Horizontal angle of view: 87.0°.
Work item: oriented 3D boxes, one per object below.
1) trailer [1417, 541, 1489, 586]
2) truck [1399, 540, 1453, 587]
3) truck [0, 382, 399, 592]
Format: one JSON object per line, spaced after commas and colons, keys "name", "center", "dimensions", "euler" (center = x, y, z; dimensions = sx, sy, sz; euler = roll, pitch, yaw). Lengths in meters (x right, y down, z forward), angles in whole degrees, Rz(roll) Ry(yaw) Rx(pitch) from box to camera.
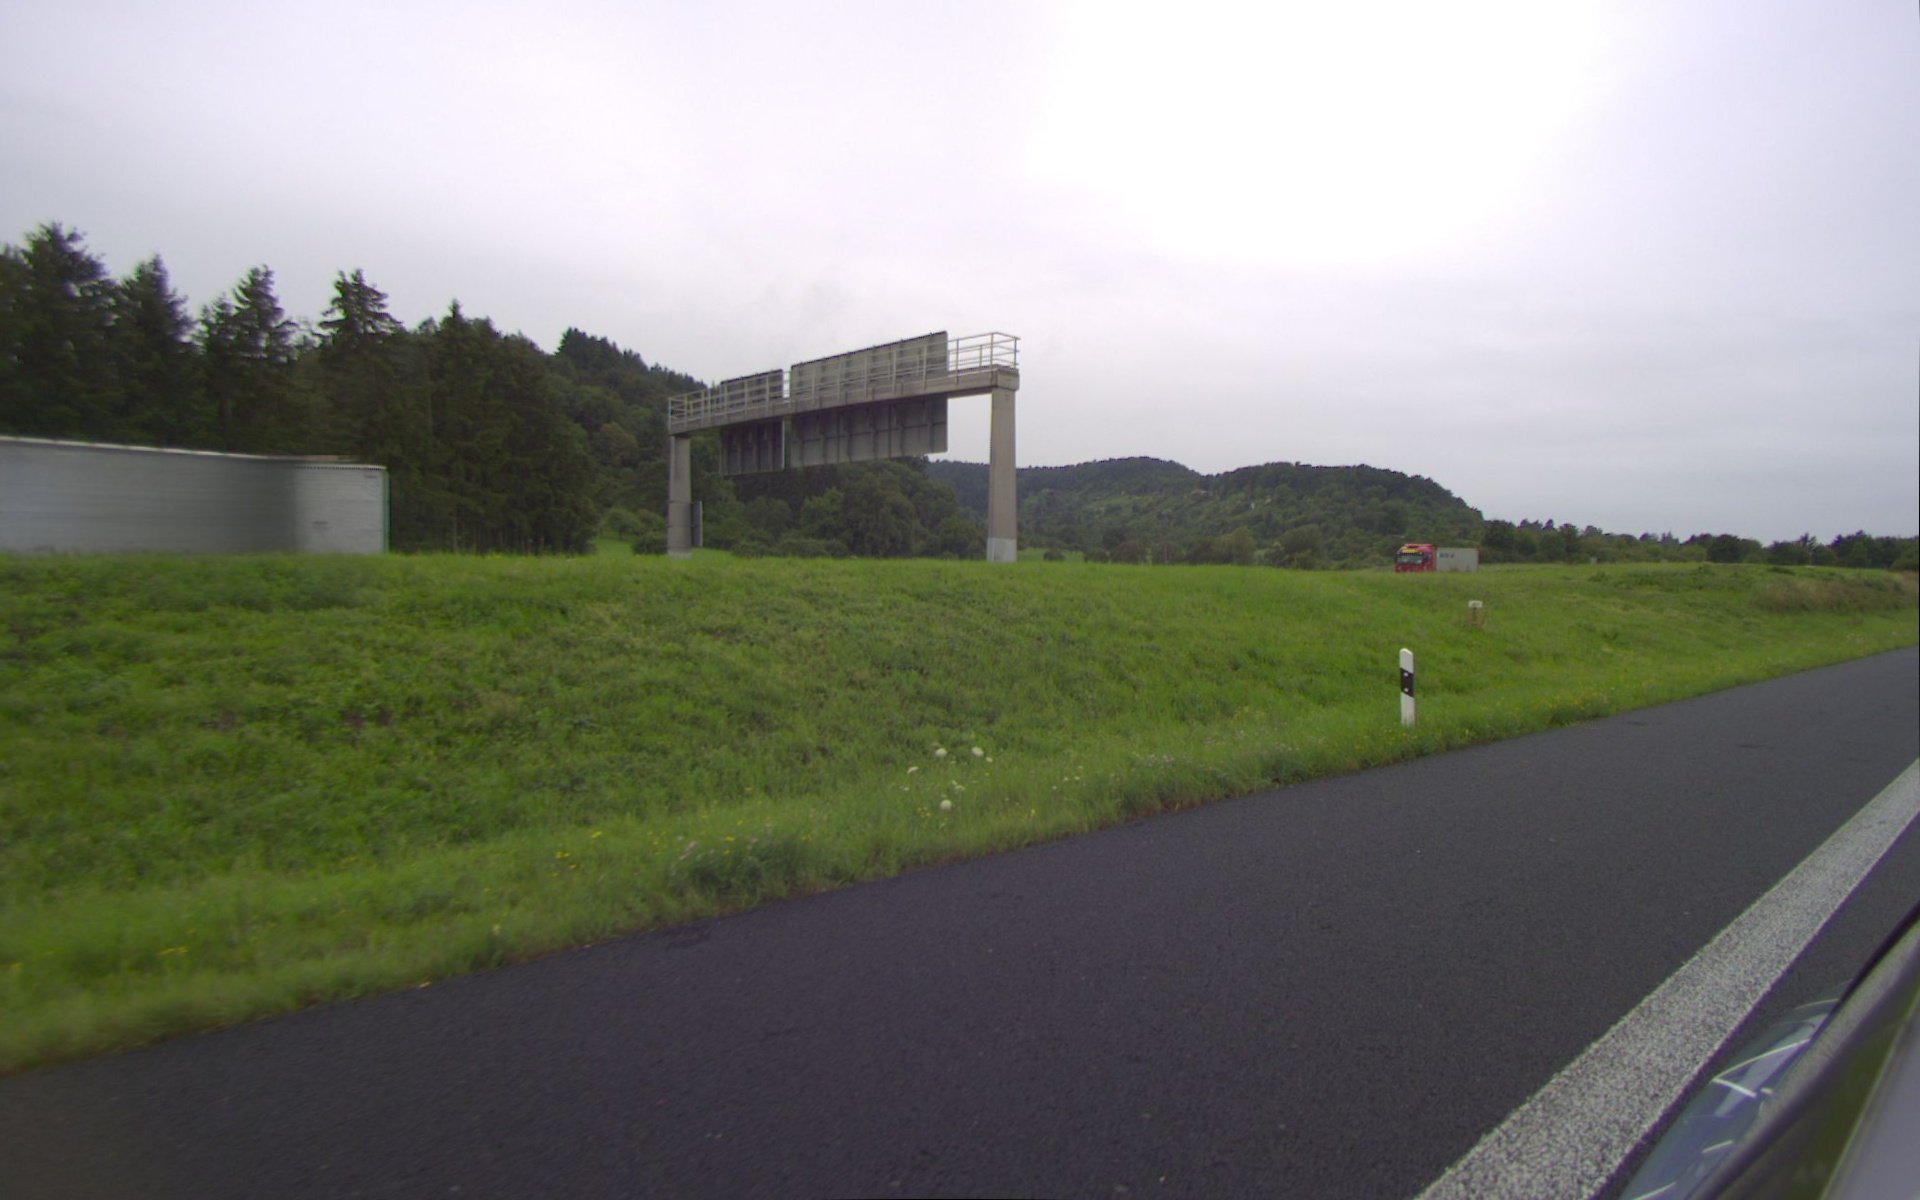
{"name": "trailer", "center": [46.844, -3.334, 95.951], "dimensions": [2.491, 4.034, 12.208], "euler": [-1, 0, 44]}
{"name": "truck", "center": [41.882, -3.242, 90.874], "dimensions": [2.509, 4.037, 5.833], "euler": [-1, 0, 45]}
{"name": "truck", "center": [-22.647, -2.521, 23.422], "dimensions": [3.820, 4.597, 16.623], "euler": [1, 1, 43]}
